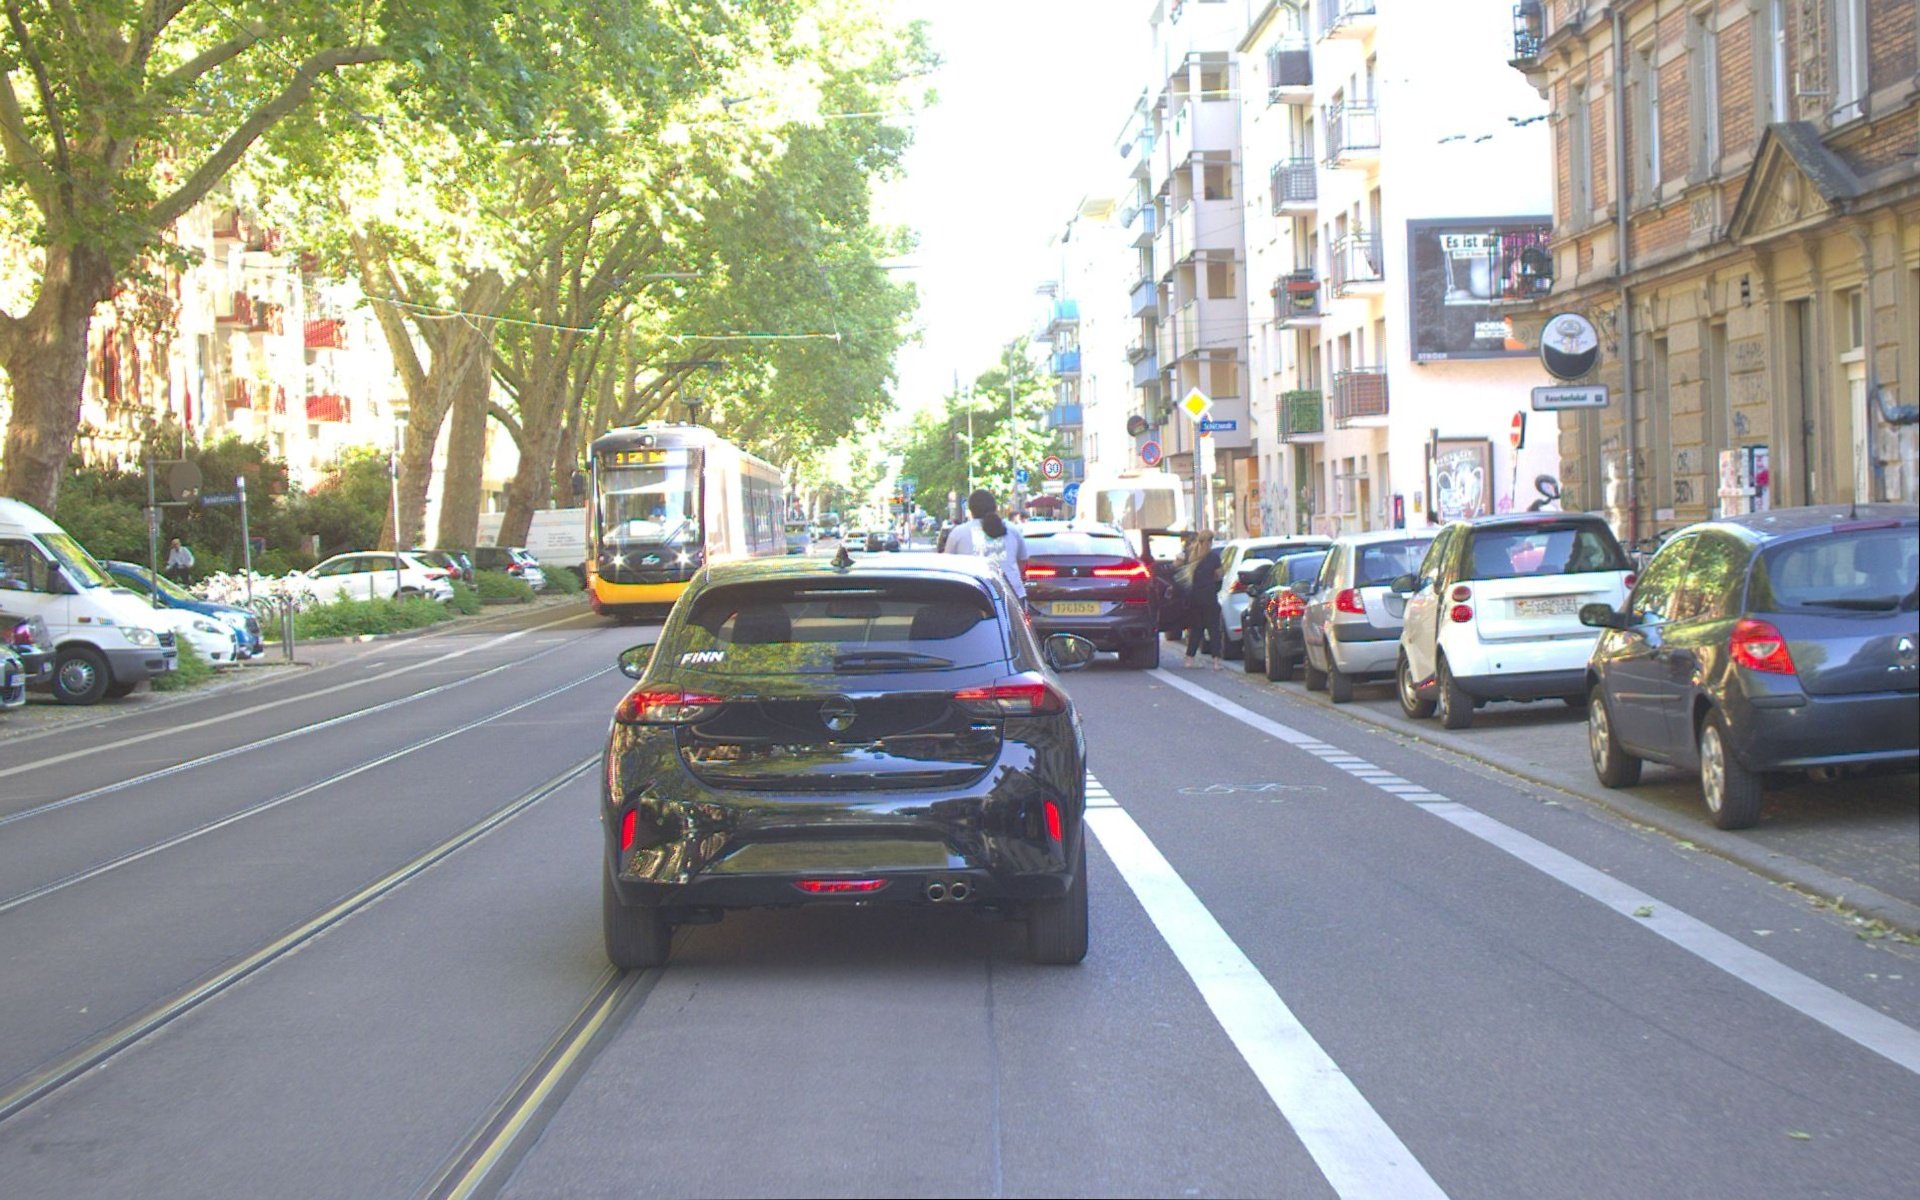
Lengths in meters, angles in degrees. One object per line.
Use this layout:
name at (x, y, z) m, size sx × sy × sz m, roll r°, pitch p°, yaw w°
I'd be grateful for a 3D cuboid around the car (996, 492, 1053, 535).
car at (2.230, -2.987, 119.294) m, size 1.810 × 1.333 × 3.933 m, roll -5°, pitch 1°, yaw 0°

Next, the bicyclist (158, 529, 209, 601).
bicyclist at (-19.150, -0.860, 84.811) m, size 0.987 × 1.750 × 1.154 m, roll -1°, pitch 1°, yaw -3°

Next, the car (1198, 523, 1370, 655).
car at (3.959, -0.169, 42.552) m, size 1.661 × 1.414 × 3.933 m, roll -5°, pitch 1°, yaw 0°

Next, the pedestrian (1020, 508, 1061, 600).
pedestrian at (1.394, -0.800, 59.479) m, size 0.679 × 1.561 × 0.769 m, roll -1°, pitch 1°, yaw 2°

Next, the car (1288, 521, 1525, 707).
car at (4.017, 0.080, 31.412) m, size 1.705 × 1.451 × 3.697 m, roll -5°, pitch 1°, yaw 2°

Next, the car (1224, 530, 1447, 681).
car at (3.855, 0.016, 35.908) m, size 1.810 × 1.333 × 3.933 m, roll -5°, pitch 1°, yaw 0°

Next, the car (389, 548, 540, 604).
car at (-13.407, -0.659, 93.107) m, size 3.919 × 1.493 × 1.677 m, roll 0°, pitch 1°, yaw -3°

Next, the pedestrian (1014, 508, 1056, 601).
pedestrian at (1.285, -0.782, 58.663) m, size 0.679 × 1.561 × 0.769 m, roll -1°, pitch 1°, yaw 2°

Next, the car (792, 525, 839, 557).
car at (-6.262, -2.556, 148.989) m, size 1.810 × 1.333 × 3.933 m, roll -2°, pitch 1°, yaw 0°

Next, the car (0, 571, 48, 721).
car at (-11.560, 0.457, 35.316) m, size 3.920 × 1.493 × 1.677 m, roll 0°, pitch 1°, yaw 1°

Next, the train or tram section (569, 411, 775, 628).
train or tram section at (-5.356, -1.529, 66.243) m, size 2.735 × 3.669 × 12.717 m, roll -2°, pitch 1°, yaw 0°

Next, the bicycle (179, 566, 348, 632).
bicycle at (-13.062, -0.016, 64.485) m, size 2.945 × 1.165 × 0.989 m, roll -1°, pitch 1°, yaw 16°

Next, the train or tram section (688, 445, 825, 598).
train or tram section at (-5.296, -2.069, 91.683) m, size 2.735 × 3.669 × 12.717 m, roll -2°, pitch 1°, yaw 0°

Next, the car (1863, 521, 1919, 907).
car at (4.510, 0.392, 11.404) m, size 1.880 × 1.451 × 4.026 m, roll -5°, pitch 1°, yaw 0°

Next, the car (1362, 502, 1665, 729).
car at (4.181, 0.091, 26.359) m, size 1.567 × 1.512 × 3.041 m, roll -5°, pitch 1°, yaw -3°

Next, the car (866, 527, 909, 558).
car at (-3.242, -2.585, 154.034) m, size 1.810 × 1.333 × 3.933 m, roll -1°, pitch 1°, yaw 0°

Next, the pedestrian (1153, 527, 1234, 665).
pedestrian at (2.693, -0.055, 39.546) m, size 0.866 × 1.561 × 0.768 m, roll -1°, pitch 1°, yaw 6°

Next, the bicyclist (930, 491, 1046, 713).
bicyclist at (0.213, 0.007, 27.640) m, size 0.848 × 1.734 × 1.162 m, roll -1°, pitch 1°, yaw -2°

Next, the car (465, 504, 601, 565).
car at (-12.707, -1.958, 102.448) m, size 3.919 × 1.784 × 1.677 m, roll 0°, pitch 1°, yaw -3°

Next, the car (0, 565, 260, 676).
car at (-11.811, 0.271, 47.679) m, size 3.919 × 1.493 × 1.677 m, roll 0°, pitch 1°, yaw -3°

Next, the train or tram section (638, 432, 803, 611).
train or tram section at (-5.346, -1.777, 78.950) m, size 2.735 × 3.669 × 12.717 m, roll -2°, pitch 1°, yaw 0°

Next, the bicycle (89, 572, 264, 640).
bicycle at (-14.173, 0.107, 62.203) m, size 2.945 × 1.165 × 0.989 m, roll -1°, pitch 1°, yaw 16°

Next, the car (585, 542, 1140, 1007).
car at (-0.355, 0.545, 13.067) m, size 1.794 × 1.436 × 3.532 m, roll -1°, pitch 2°, yaw -1°

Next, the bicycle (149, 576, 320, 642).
bicycle at (-13.376, 0.165, 63.365) m, size 2.945 × 1.165 × 0.989 m, roll -1°, pitch 1°, yaw 16°

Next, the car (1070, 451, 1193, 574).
car at (3.397, -1.744, 68.982) m, size 2.075 × 2.211 × 4.933 m, roll -5°, pitch 1°, yaw 0°

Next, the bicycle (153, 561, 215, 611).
bicycle at (-19.135, -0.353, 84.830) m, size 0.987 × 1.165 × 2.953 m, roll -1°, pitch 1°, yaw -3°

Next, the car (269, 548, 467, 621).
car at (-12.381, -0.333, 72.047) m, size 3.919 × 1.493 × 1.677 m, roll 0°, pitch 1°, yaw -3°

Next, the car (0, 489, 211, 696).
car at (-12.523, -0.101, 41.034) m, size 6.627 × 2.401 × 2.458 m, roll 0°, pitch 1°, yaw 0°

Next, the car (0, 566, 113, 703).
car at (-11.655, 0.376, 38.609) m, size 3.919 × 1.493 × 1.677 m, roll 0°, pitch 1°, yaw -3°

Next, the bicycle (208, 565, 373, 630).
bicycle at (-12.769, -0.043, 65.605) m, size 2.945 × 1.165 × 0.989 m, roll -1°, pitch 1°, yaw 16°

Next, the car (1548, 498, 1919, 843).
car at (4.313, 0.276, 17.736) m, size 1.710 × 1.478 × 3.764 m, roll -5°, pitch 1°, yaw -1°

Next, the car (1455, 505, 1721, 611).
car at (11.256, -0.758, 61.819) m, size 4.377 × 1.792 × 1.876 m, roll -1°, pitch 1°, yaw -1°

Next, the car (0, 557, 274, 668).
car at (-12.098, 0.164, 50.135) m, size 3.919 × 1.572 × 1.677 m, roll 0°, pitch 1°, yaw -3°

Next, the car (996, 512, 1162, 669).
car at (1.339, -0.145, 40.066) m, size 1.810 × 1.736 × 3.933 m, roll 0°, pitch 1°, yaw 0°

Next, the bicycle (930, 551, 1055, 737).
bicycle at (0.239, 0.319, 27.594) m, size 0.860 × 1.402 × 2.524 m, roll -1°, pitch 1°, yaw -2°
